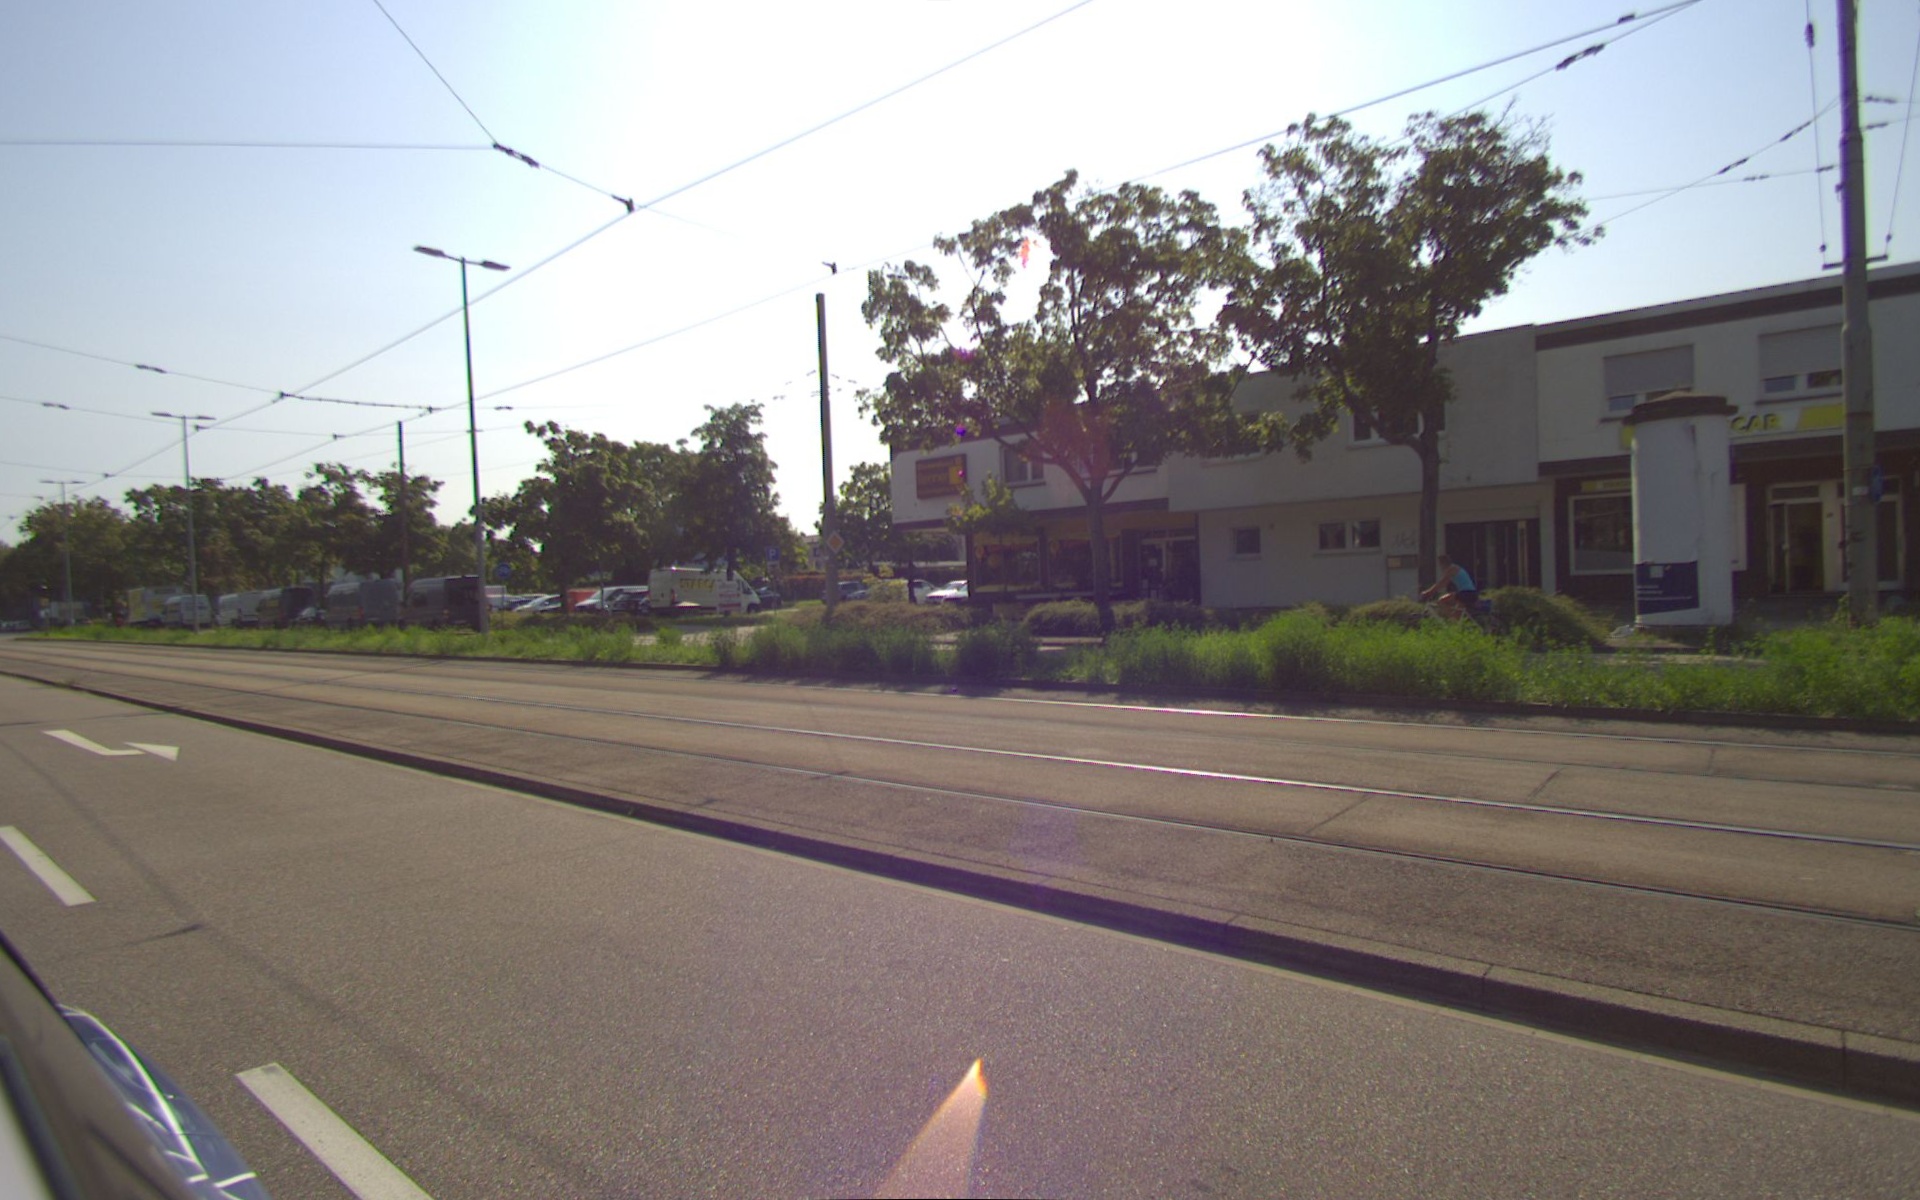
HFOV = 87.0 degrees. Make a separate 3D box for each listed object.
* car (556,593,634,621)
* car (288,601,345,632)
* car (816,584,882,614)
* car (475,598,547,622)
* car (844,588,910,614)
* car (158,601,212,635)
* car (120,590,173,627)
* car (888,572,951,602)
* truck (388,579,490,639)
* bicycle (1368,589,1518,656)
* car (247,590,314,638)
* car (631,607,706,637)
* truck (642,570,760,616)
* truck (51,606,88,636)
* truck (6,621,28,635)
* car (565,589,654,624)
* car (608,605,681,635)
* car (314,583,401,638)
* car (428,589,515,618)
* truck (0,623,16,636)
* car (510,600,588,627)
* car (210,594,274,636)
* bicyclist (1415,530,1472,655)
[{"bbox_3d":[-20.665,0.370,57.447,1.632,1.530,3.884,-1,0,39],"label":"car"},{"bbox_3d":[-35.949,0.935,56.497,3.834,1.563,1.726,-1,2,43],"label":"car"},{"bbox_3d":[-6.799,-0.094,62.242,3.759,1.782,1.759,-1,0,-44],"label":"car"},{"bbox_3d":[-28.465,0.637,64.240,1.632,1.461,3.884,-1,0,39],"label":"car"},{"bbox_3d":[-4.848,0.077,59.361,3.662,1.353,1.493,-3,1,-42],"label":"car"},{"bbox_3d":[-57.586,1.340,75.183,4.827,2.477,2.121,-1,0,40],"label":"car"},{"bbox_3d":[-65.167,0.728,81.015,7.228,2.826,2.102,-1,0,41],"label":"car"},{"bbox_3d":[-2.341,-0.762,58.769,1.874,1.513,3.415,-2,3,37],"label":"car"},{"bbox_3d":[-23.688,0.405,45.866,5.735,2.567,2.060,-1,0,40],"label":"truck"},{"bbox_3d":[8.230,0.385,17.300,2.256,1.099,0.710,-1,0,30],"label":"bicycle"},{"bbox_3d":[-40.592,0.866,60.429,5.908,2.605,1.803,-2,2,42],"label":"car"},{"bbox_3d":[-14.923,1.114,51.917,1.632,1.437,3.371,-1,0,39],"label":"car"},{"bbox_3d":[-12.881,-0.351,50.554,2.257,2.189,5.435,-1,0,39],"label":"truck"},{"bbox_3d":[-97.051,2.244,110.236,8.788,3.145,2.248,-1,0,43],"label":"truck"},{"bbox_3d":[-120.617,3.548,129.433,3.654,1.687,1.669,-1,0,41],"label":"truck"},{"bbox_3d":[-19.043,0.338,55.087,1.632,1.798,4.355,-1,0,39],"label":"car"},{"bbox_3d":[-16.598,1.035,53.324,1.632,1.437,3.371,-1,0,39],"label":"car"},{"bbox_3d":[-31.267,0.546,52.405,6.466,2.605,1.967,-1,2,43],"label":"car"},{"bbox_3d":[-34.111,0.212,70.774,2.051,1.940,5.134,-1,0,39],"label":"car"},{"bbox_3d":[-128.282,3.898,135.984,3.654,1.687,1.669,-1,0,41],"label":"truck"},{"bbox_3d":[-24.597,0.805,60.676,1.620,1.474,4.122,-2,0,34],"label":"car"},{"bbox_3d":[-46.770,1.001,65.859,5.628,2.606,2.110,-1,0,41],"label":"car"},{"bbox_3d":[8.271,-0.118,17.305,0.772,2.080,0.632,-1,0,32],"label":"bicyclist"}]
